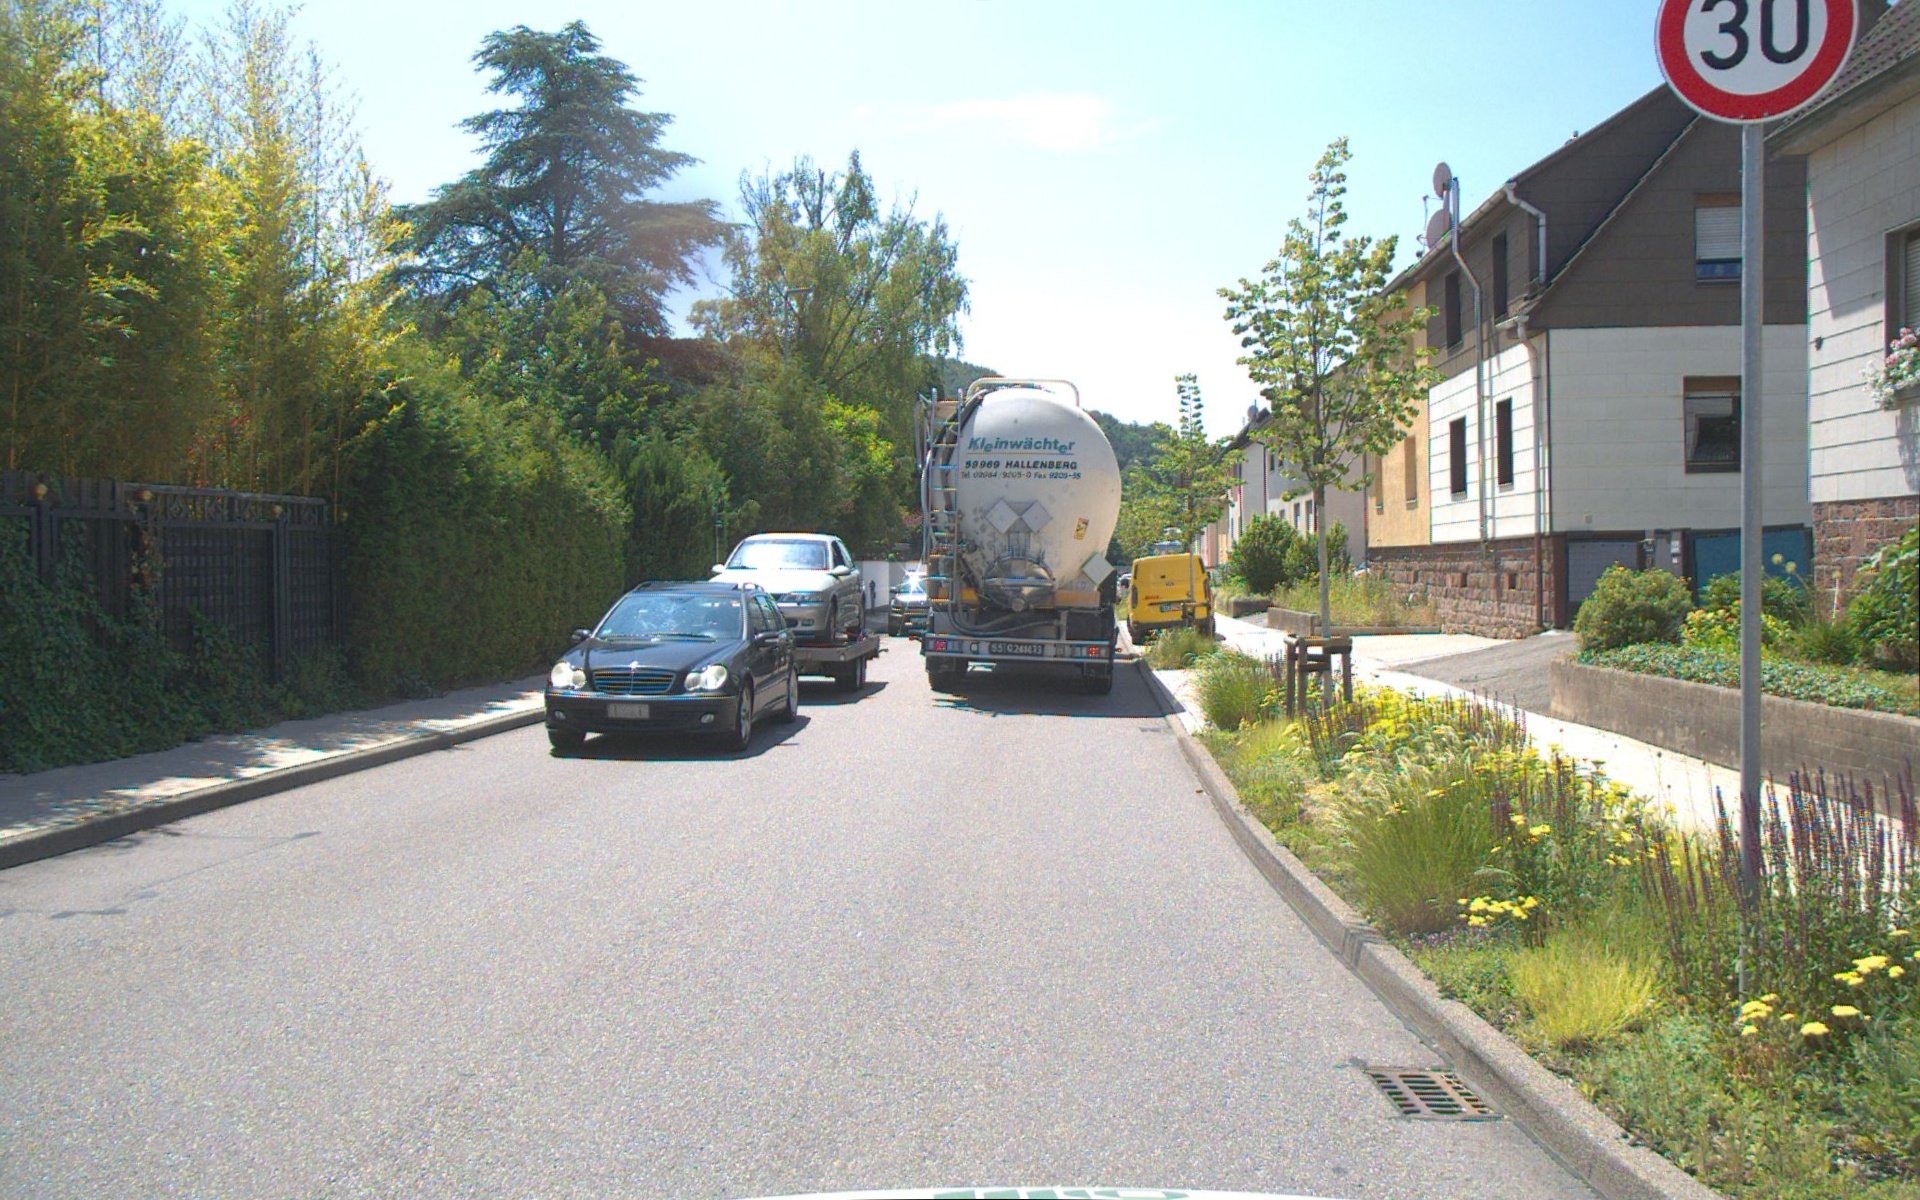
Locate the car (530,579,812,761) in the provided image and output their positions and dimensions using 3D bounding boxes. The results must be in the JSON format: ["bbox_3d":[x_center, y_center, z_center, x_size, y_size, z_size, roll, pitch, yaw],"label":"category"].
[{"bbox_3d":[-2.553,0.548,15.638,1.730,1.427,4.249,1,1,2],"label":"car"}]

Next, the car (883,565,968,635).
[{"bbox_3d":[-0.843,-0.045,42.754,1.828,1.681,3.951,1,1,4],"label":"car"}]

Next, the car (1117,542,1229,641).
[{"bbox_3d":[5.046,-0.192,39.896,2.144,2.048,5.625,-4,0,3],"label":"car"}]

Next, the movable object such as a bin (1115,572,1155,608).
[{"bbox_3d":[7.336,-0.414,69.539,1.538,1.441,3.043,-1,0,4],"label":"movable object such as a bin"}]

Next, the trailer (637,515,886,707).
[{"bbox_3d":[-2.278,0.111,20.912,2.110,2.021,6.203,1,0,2],"label":"trailer"}]

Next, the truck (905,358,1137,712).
[{"bbox_3d":[1.154,-0.859,24.819,2.692,4.127,10.896,0,1,5],"label":"truck"}]
